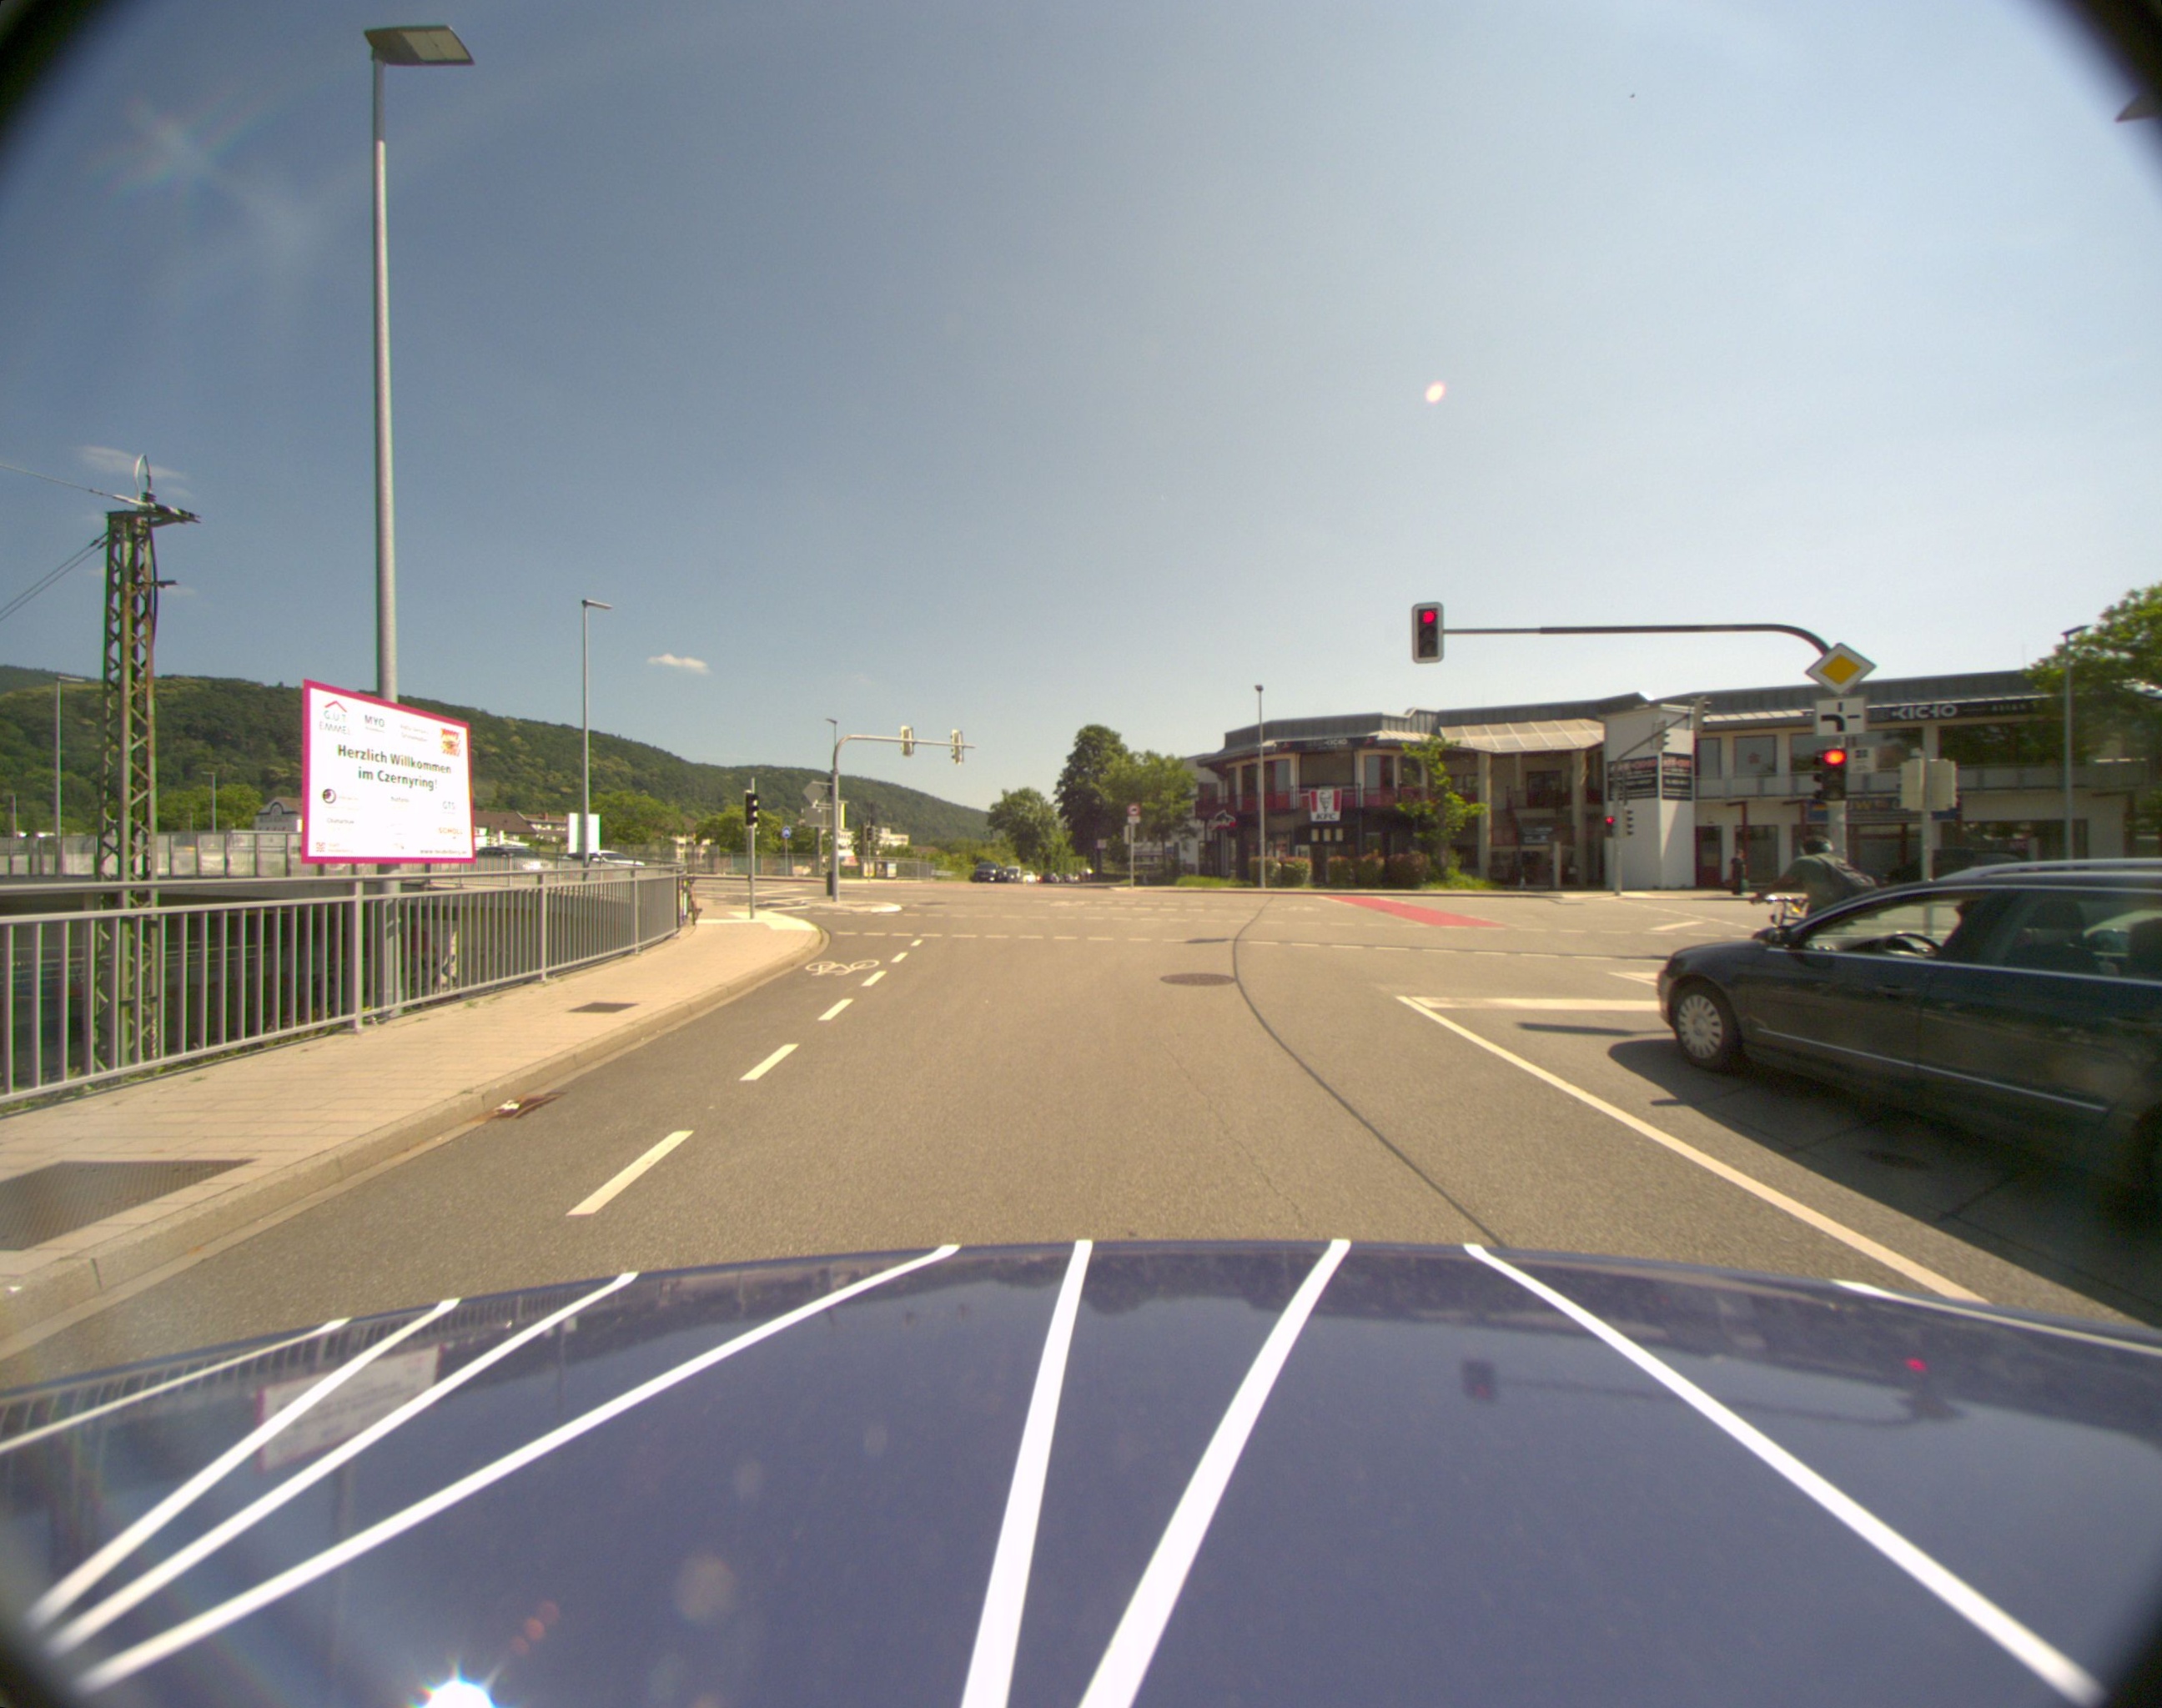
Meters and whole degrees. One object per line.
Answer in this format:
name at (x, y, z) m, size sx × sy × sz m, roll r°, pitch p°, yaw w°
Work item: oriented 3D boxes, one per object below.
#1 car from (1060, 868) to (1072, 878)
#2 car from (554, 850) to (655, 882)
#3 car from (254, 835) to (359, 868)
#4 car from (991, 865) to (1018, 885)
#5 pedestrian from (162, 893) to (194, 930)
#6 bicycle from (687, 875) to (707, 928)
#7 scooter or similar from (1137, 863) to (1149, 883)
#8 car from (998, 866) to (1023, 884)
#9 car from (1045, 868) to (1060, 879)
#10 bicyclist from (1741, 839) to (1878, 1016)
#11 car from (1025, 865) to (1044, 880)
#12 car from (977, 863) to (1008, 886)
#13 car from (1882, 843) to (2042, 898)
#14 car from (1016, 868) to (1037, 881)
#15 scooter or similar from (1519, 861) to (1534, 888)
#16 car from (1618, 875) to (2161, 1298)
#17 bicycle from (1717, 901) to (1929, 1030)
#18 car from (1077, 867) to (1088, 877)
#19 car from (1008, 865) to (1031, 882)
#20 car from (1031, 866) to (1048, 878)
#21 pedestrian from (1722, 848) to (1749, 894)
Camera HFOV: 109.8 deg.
car at (-2.353, 2.941, 120.321) m, size 1.672 × 1.524 × 4.001 m, roll 0°, pitch 0°, yaw 3°
car at (-22.870, 0.542, 36.486) m, size 4.400 × 1.461 × 1.739 m, roll 0°, pitch 0°, yaw 20°
car at (-41.738, -0.120, 40.950) m, size 4.623 × 1.709 × 2.003 m, roll 0°, pitch 0°, yaw 16°
car at (-6.370, 1.722, 63.331) m, size 1.672 × 1.524 × 4.001 m, roll 0°, pitch 0°, yaw 3°
pedestrian at (-40.669, 2.591, 34.230) m, size 0.919 × 1.608 × 0.646 m, roll 0°, pitch 0°, yaw 19°
bicycle at (-8.603, 1.033, 17.004) m, size 0.298 × 1.094 × 1.616 m, roll 0°, pitch 0°, yaw -30°
scooter or similar at (3.503, 1.058, 42.743) m, size 0.426 × 1.117 × 1.453 m, roll 0°, pitch 0°, yaw 14°
car at (-6.257, 1.839, 67.977) m, size 1.672 × 1.524 × 4.001 m, roll 0°, pitch 0°, yaw 3°
car at (-3.881, 2.590, 103.678) m, size 1.672 × 1.427 × 4.001 m, roll 0°, pitch 0°, yaw 3°
bicyclist at (7.719, 0.740, 8.092) m, size 0.711 × 1.778 × 0.809 m, roll 0°, pitch 0°, yaw 9°
car at (-5.242, 2.082, 86.043) m, size 1.672 × 1.524 × 4.001 m, roll 0°, pitch 0°, yaw 3°
car at (-6.732, 1.553, 58.390) m, size 1.829 × 1.617 × 4.237 m, roll 0°, pitch 0°, yaw 1°
car at (32.531, 0.564, 28.288) m, size 1.804 × 1.844 × 4.666 m, roll 0°, pitch 0°, yaw 19°
car at (-5.622, 2.134, 79.009) m, size 1.672 × 1.309 × 4.001 m, roll 0°, pitch 0°, yaw 3°
scooter or similar at (19.257, 0.887, 32.884) m, size 0.499 × 1.117 × 1.507 m, roll 0°, pitch 0°, yaw 28°
car at (4.985, 0.907, 3.665) m, size 1.783 × 1.488 × 4.724 m, roll 0°, pitch 0°, yaw 5°
bicycle at (7.711, 1.099, 8.027) m, size 0.698 × 1.098 × 1.756 m, roll 0°, pitch 0°, yaw 8°
car at (0.298, 3.238, 136.795) m, size 1.672 × 1.718 × 4.001 m, roll -4°, pitch 0°, yaw 3°
car at (-5.938, 1.867, 73.778) m, size 1.672 × 1.625 × 4.001 m, roll 0°, pitch 0°, yaw 3°
car at (-5.057, 2.173, 93.412) m, size 1.672 × 1.427 × 4.001 m, roll 0°, pitch 0°, yaw 3°
pedestrian at (24.099, 0.614, 27.996) m, size 0.731 × 1.636 × 0.844 m, roll 0°, pitch 0°, yaw 39°
